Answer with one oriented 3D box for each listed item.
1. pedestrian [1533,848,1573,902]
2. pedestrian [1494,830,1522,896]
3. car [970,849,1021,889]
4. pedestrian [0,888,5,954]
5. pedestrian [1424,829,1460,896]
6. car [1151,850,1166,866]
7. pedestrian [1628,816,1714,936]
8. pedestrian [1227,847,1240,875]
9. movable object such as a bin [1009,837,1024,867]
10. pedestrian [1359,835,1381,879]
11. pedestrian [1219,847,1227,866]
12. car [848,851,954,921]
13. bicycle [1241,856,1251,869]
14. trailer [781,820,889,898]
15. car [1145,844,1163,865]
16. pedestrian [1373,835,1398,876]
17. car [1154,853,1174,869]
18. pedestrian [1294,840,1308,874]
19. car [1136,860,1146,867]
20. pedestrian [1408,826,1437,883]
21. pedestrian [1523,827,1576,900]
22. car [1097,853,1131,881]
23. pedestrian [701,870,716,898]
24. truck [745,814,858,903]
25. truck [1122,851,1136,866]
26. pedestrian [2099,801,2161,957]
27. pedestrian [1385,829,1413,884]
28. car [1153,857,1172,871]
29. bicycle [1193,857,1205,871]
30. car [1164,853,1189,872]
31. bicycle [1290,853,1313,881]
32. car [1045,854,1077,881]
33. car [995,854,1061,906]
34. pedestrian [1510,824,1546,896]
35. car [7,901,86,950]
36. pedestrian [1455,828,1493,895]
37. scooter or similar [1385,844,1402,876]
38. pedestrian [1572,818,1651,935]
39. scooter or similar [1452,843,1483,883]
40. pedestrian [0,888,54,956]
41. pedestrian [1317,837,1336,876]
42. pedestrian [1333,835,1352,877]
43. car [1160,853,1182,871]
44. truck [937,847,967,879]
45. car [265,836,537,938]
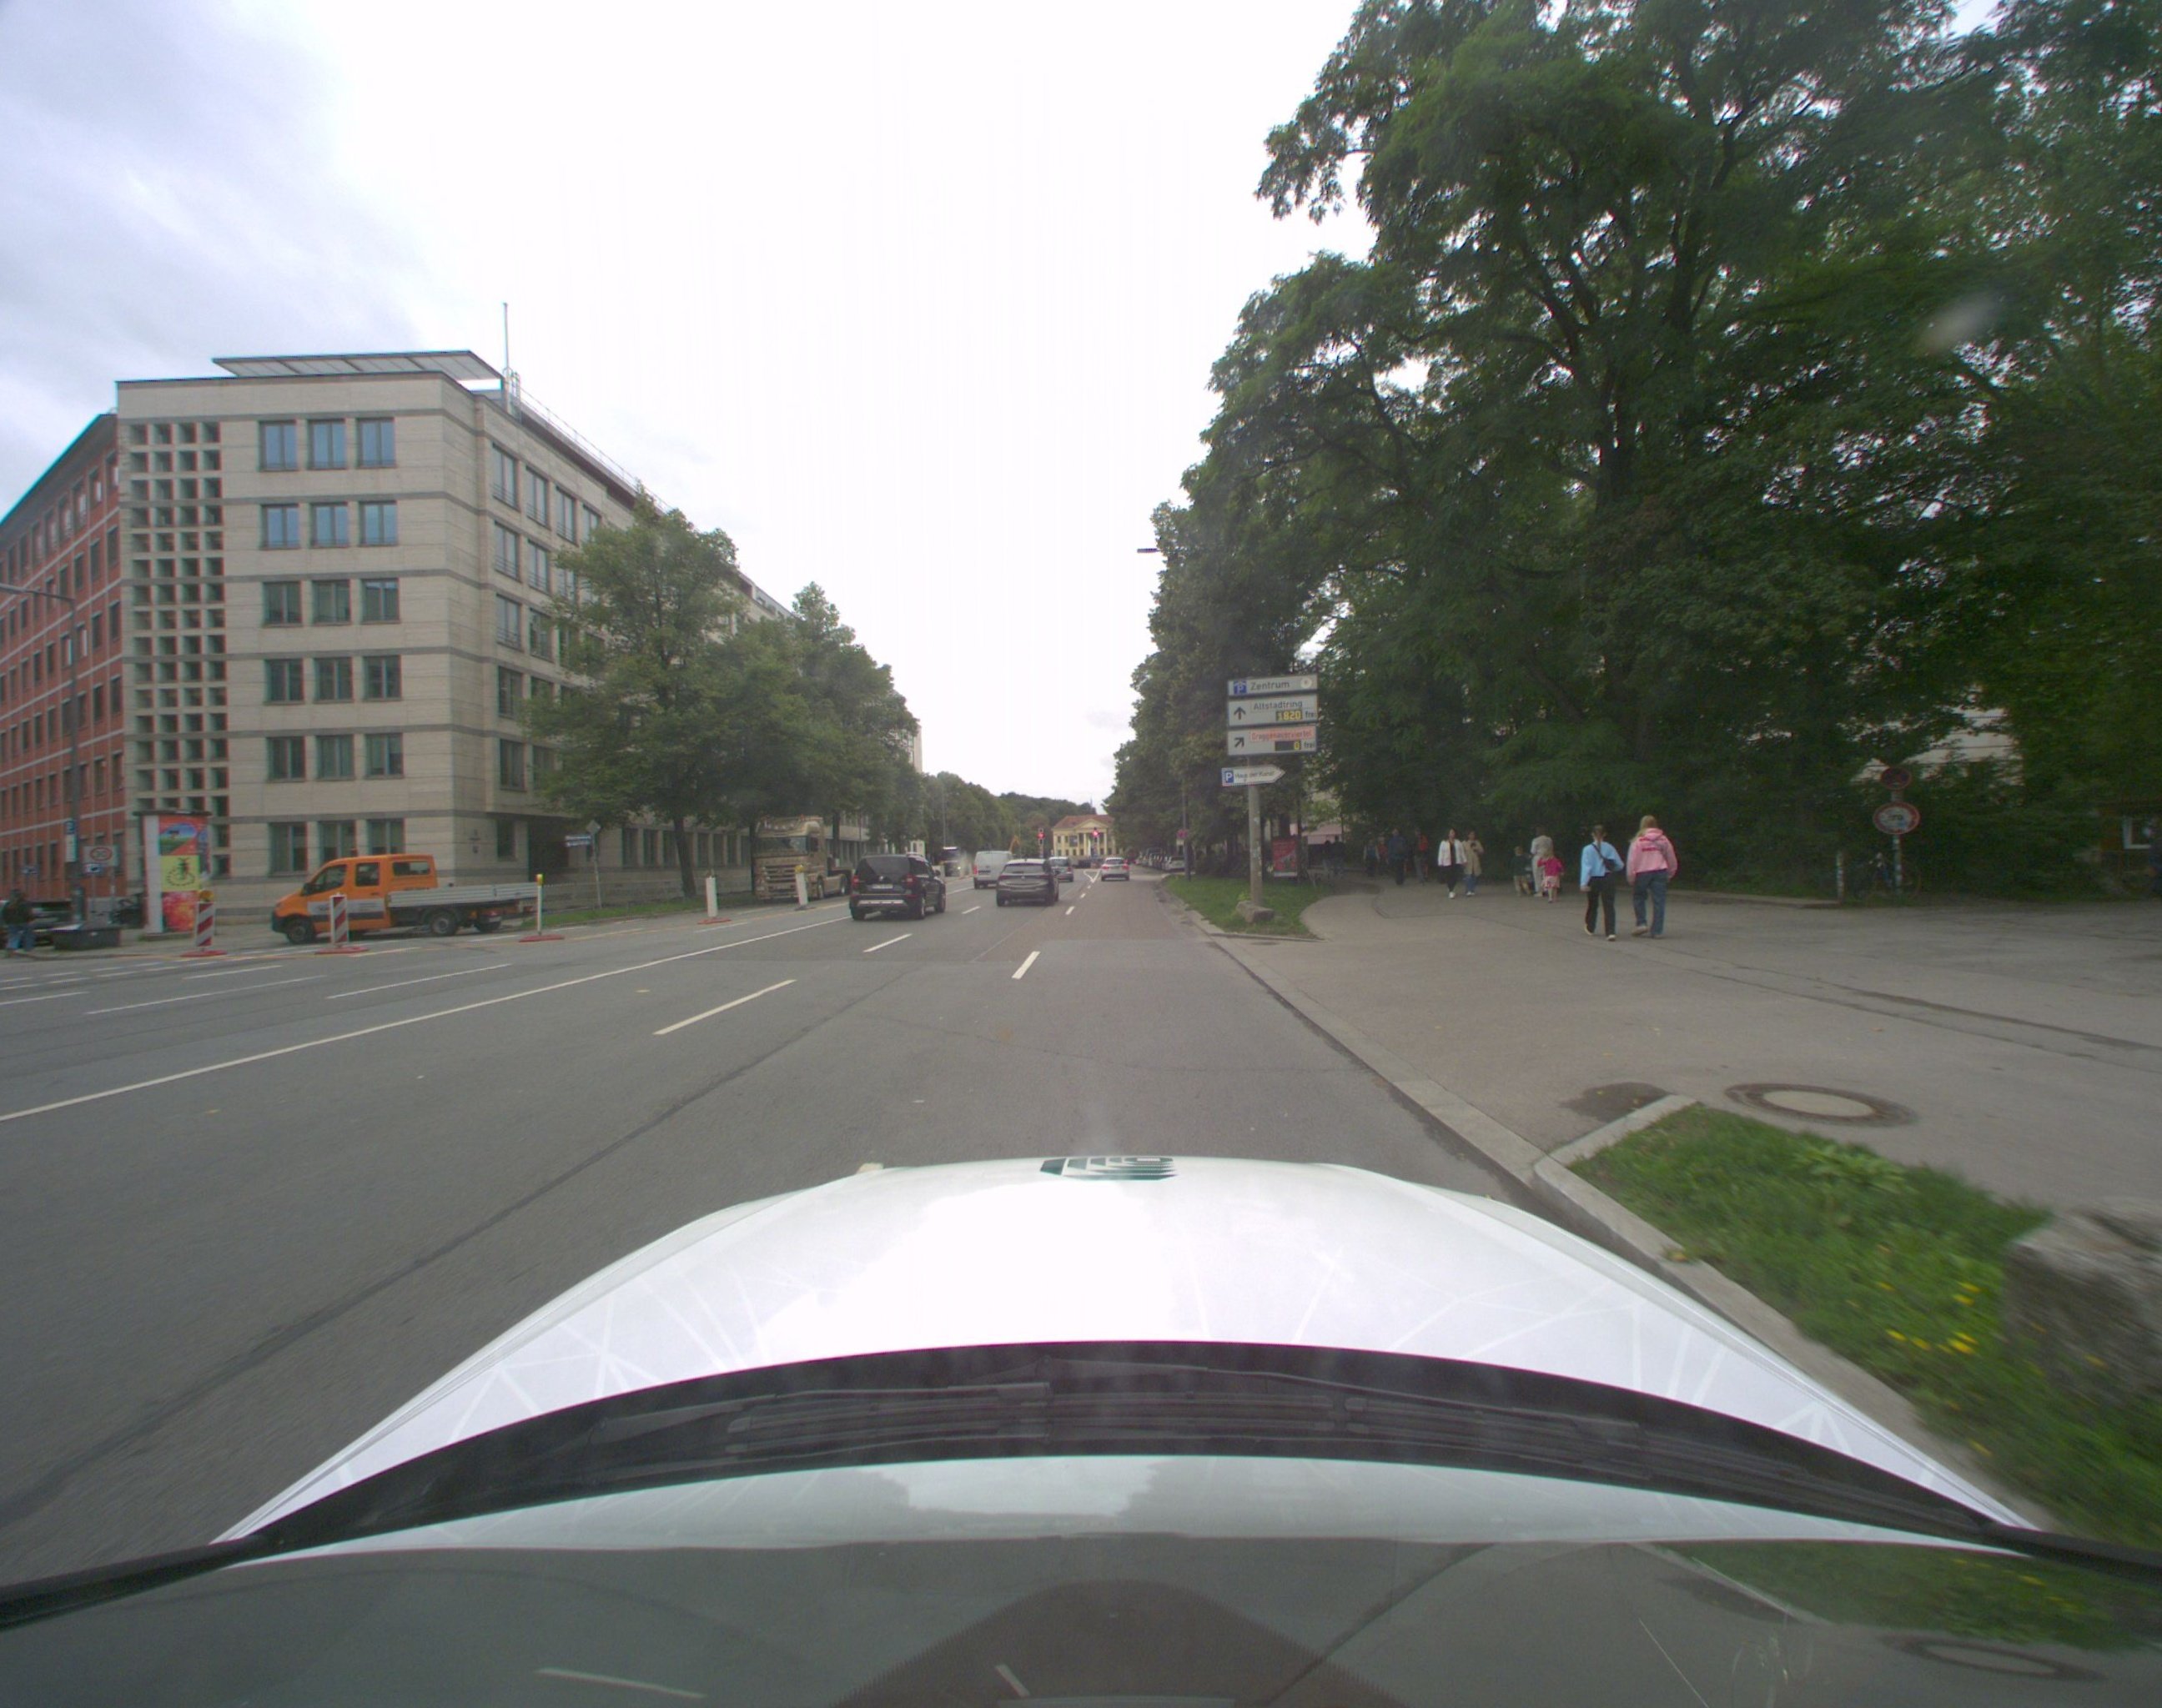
[{"bbox_3d":[10.129,0.441,17.481,0.626,1.137,0.575,-1,-1,17],"label":"pedestrian"},{"bbox_3d":[10.265,0.208,19.600,0.481,1.566,0.575,-1,-1,17],"label":"pedestrian"},{"bbox_3d":[-4.353,0.764,42.094,1.891,1.847,4.957,-2,-1,2],"label":"car"},{"bbox_3d":[-29.435,1.816,21.676,0.679,1.775,0.675,-1,-1,6],"label":"pedestrian"},{"bbox_3d":[9.039,0.202,20.401,0.748,1.644,0.653,-1,-1,17],"label":"pedestrian"},{"bbox_3d":[9.766,0.524,102.940,1.717,1.867,4.030,-2,-1,3],"label":"car"},{"bbox_3d":[8.432,0.310,11.684,0.748,1.644,0.853,-1,-1,17],"label":"pedestrian"},{"bbox_3d":[10.627,0.470,56.779,0.775,1.910,0.771,-1,-1,2],"label":"pedestrian"},{"bbox_3d":[-14.183,-0.440,178.709,2.689,6.511,5.179,-1,-1,2],"label":"movable object such as a bin"},{"bbox_3d":[11.381,0.121,32.072,0.748,1.737,0.853,-1,-1,17],"label":"pedestrian"},{"bbox_3d":[14.207,0.242,81.478,0.761,1.910,0.771,-1,-1,2],"label":"pedestrian"},{"bbox_3d":[-4.654,0.792,21.637,1.716,1.636,4.206,-2,-1,2],"label":"car"},{"bbox_3d":[17.979,0.909,88.697,0.696,1.415,2.300,-2,-1,2],"label":"bicycle"},{"bbox_3d":[-13.256,0.268,45.149,2.943,3.740,11.757,0,0,-3],"label":"trailer"},{"bbox_3d":[9.819,0.076,109.885,1.987,2.643,4.878,-1,0,1],"label":"car"},{"bbox_3d":[12.174,0.060,32.540,0.681,1.637,0.661,0,-1,-10],"label":"pedestrian"},{"bbox_3d":[8.505,0.730,83.985,1.717,1.464,4.779,-2,-1,3],"label":"car"},{"bbox_3d":[11.952,0.164,44.242,0.627,1.774,0.783,-1,-1,6],"label":"pedestrian"},{"bbox_3d":[11.547,1.789,156.852,1.717,1.324,4.030,-2,-1,3],"label":"car"},{"bbox_3d":[10.953,0.018,26.156,0.585,1.822,0.850,-1,-1,3],"label":"pedestrian"},{"bbox_3d":[10.232,0.203,17.821,0.678,1.566,0.873,-1,-1,3],"label":"pedestrian"},{"bbox_3d":[2.058,0.810,51.827,1.775,1.644,3.995,0,0,-3],"label":"car"},{"bbox_3d":[-22.769,1.822,49.786,0.576,1.732,0.764,-1,-1,2],"label":"pedestrian"},{"bbox_3d":[-12.952,0.207,38.548,2.908,3.775,7.659,0,0,-2],"label":"truck"},{"bbox_3d":[11.404,1.129,194.495,3.312,3.367,8.667,-1,0,2],"label":"truck"},{"bbox_3d":[11.195,0.256,8.518,0.695,1.578,0.605,0,-1,-33],"label":"pedestrian"},{"bbox_3d":[10.189,0.090,26.103,0.748,1.737,0.853,-1,-1,17],"label":"pedestrian"},{"bbox_3d":[8.887,1.113,89.299,1.815,1.464,4.030,-2,-1,3],"label":"car"},{"bbox_3d":[10.154,0.851,69.972,0.626,1.231,2.618,0,0,0],"label":"bicycle"},{"bbox_3d":[8.414,0.703,71.725,1.820,1.550,4.755,-2,-1,3],"label":"car"},{"bbox_3d":[8.264,0.485,30.624,0.383,1.021,2.080,-1,0,3],"label":"bicycle"},{"bbox_3d":[-1.191,0.825,51.128,1.772,1.654,4.001,-1,0,2],"label":"car"},{"bbox_3d":[-1.638,0.782,26.410,1.703,1.552,4.002,-1,0,2],"label":"car"},{"bbox_3d":[10.674,0.146,19.447,0.626,1.667,0.575,-1,-1,17],"label":"pedestrian"},{"bbox_3d":[-33.220,2.265,26.219,3.197,1.375,1.480,-2,-1,40],"label":"car"},{"bbox_3d":[9.838,0.195,20.417,0.748,1.644,0.694,-1,-1,17],"label":"pedestrian"},{"bbox_3d":[12.368,0.234,32.194,0.301,1.224,0.932,-2,-1,41],"label":"scooter or similar"},{"bbox_3d":[7.722,0.318,11.888,0.748,1.644,0.853,-1,-1,17],"label":"pedestrian"},{"bbox_3d":[12.006,0.274,25.296,0.416,1.199,1.219,-1,-1,3],"label":"scooter or similar"},{"bbox_3d":[-28.701,1.821,22.084,0.679,1.775,0.785,-1,-1,6],"label":"pedestrian"},{"bbox_3d":[10.577,0.103,35.110,0.604,1.681,0.755,-1,-1,6],"label":"pedestrian"},{"bbox_3d":[11.178,0.096,34.845,0.604,1.763,0.798,-1,-1,6],"label":"pedestrian"},{"bbox_3d":[8.502,0.766,76.966,1.717,1.550,4.589,-2,-1,3],"label":"car"},{"bbox_3d":[-14.385,0.963,91.381,2.837,3.357,8.745,0,0,-6],"label":"truck"},{"bbox_3d":[-19.008,0.887,23.004,5.666,2.536,2.155,-2,-1,-2],"label":"car"}]
